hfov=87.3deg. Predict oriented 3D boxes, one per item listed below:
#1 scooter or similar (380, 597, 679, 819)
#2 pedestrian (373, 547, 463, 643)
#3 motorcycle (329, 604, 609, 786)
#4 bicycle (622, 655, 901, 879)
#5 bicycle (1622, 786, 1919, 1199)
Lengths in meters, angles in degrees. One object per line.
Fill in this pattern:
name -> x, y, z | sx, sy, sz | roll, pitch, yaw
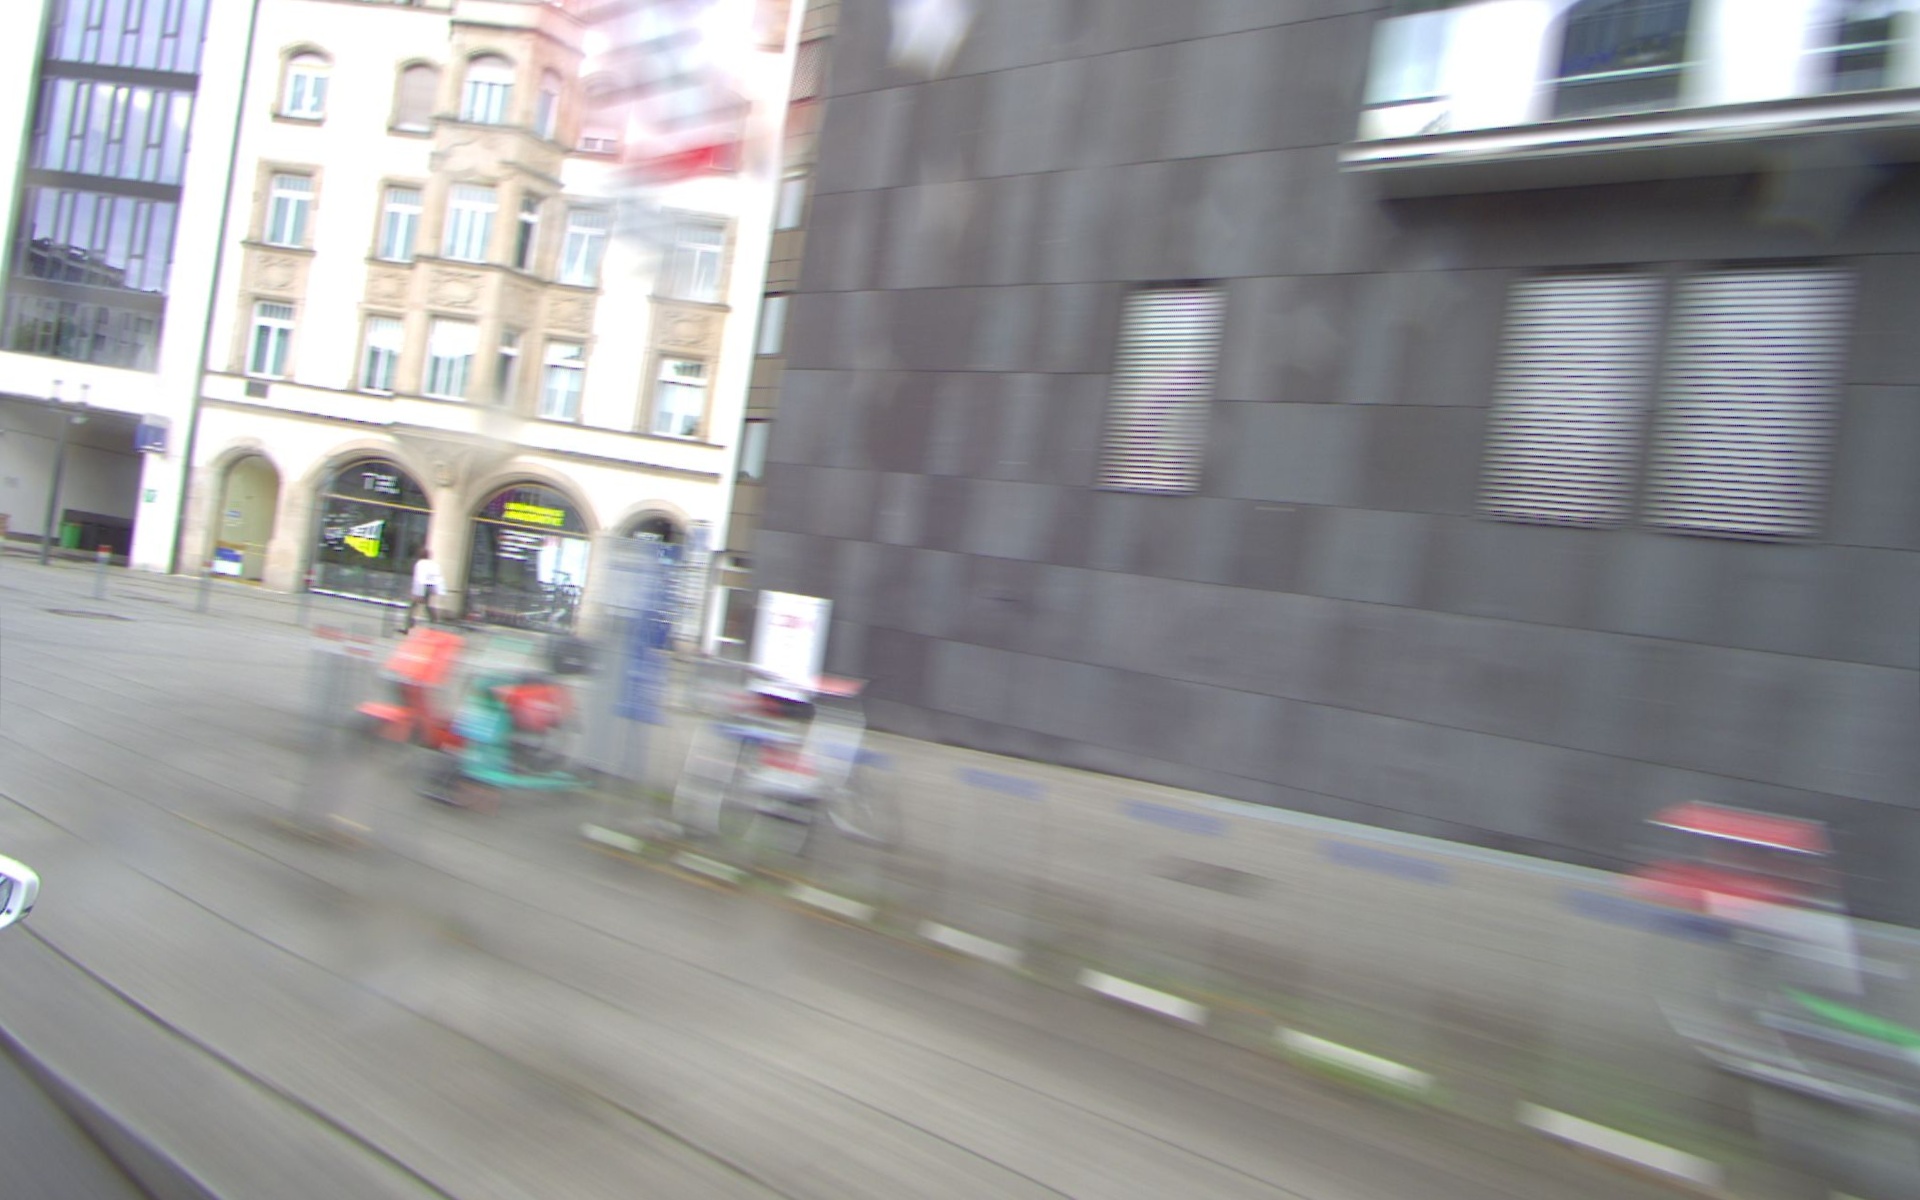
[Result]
scooter or similar -> -2.835, 0.730, 6.861 | 0.585, 1.257, 1.798 | 6, -3, 26
pedestrian -> -11.690, -0.091, 21.716 | 1.226, 1.857, 0.876 | 7, -3, 17
motorcycle -> -3.603, 0.722, 7.581 | 0.585, 1.152, 1.798 | 6, -3, 26
bicycle -> -1.153, 0.997, 6.322 | 0.658, 1.120, 1.801 | 6, -3, 26
bicycle -> 2.968, 1.335, 3.594 | 0.658, 1.120, 1.801 | 6, -3, 26
